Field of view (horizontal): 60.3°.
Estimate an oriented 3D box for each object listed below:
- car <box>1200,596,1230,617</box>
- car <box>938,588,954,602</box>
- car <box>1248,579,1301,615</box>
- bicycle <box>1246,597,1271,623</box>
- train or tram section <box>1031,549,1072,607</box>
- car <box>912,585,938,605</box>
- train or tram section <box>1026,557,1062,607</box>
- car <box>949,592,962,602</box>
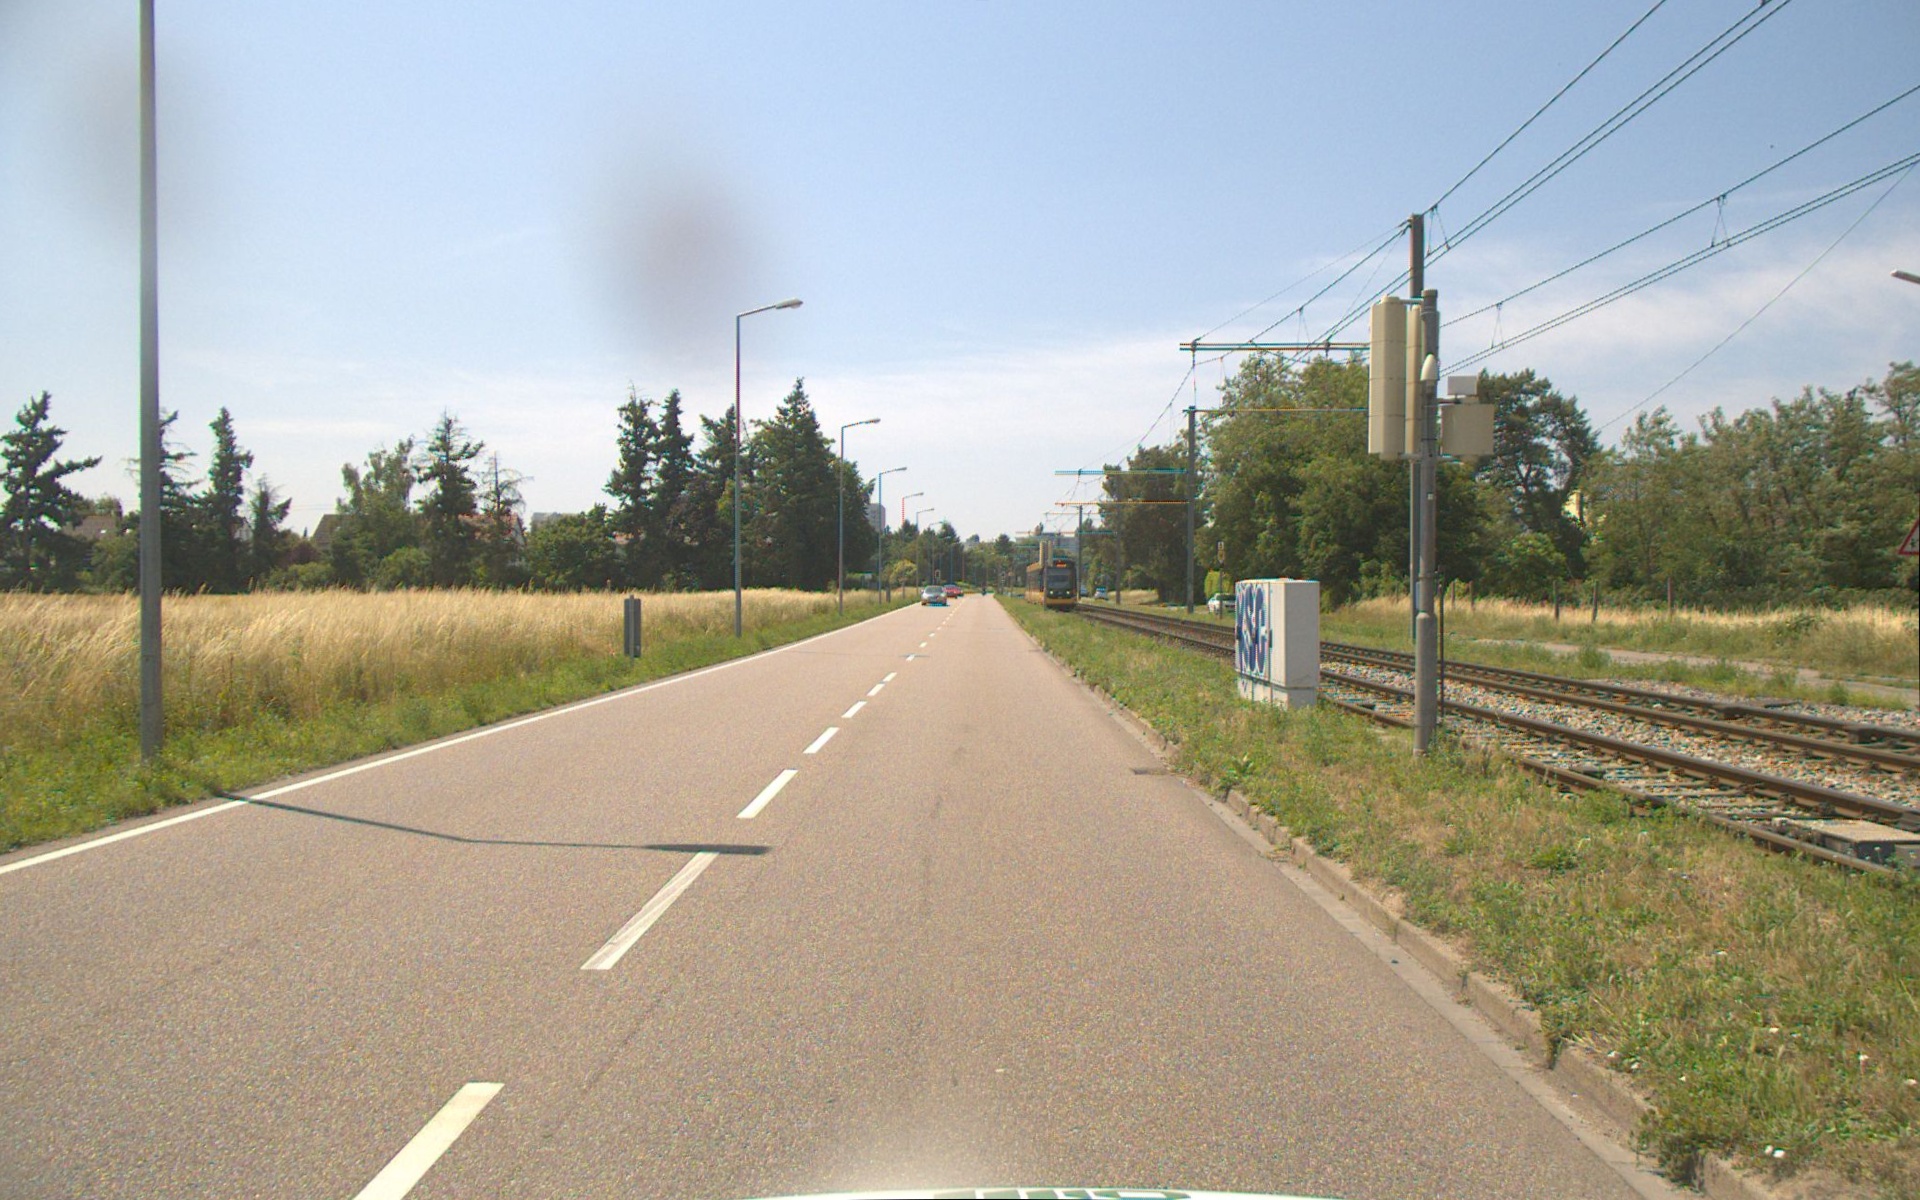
[{"bbox_3d":[16.401,0.406,106.452,1.399,1.331,3.465,0,-1,1],"label":"car"},{"bbox_3d":[-1.491,-0.514,177.991,1.611,1.424,3.844,0,-1,0],"label":"car"},{"bbox_3d":[16.561,-0.120,87.261,1.952,1.834,4.794,0,-1,1],"label":"car"},{"bbox_3d":[17.634,0.596,97.721,0.909,1.455,3.385,0,-1,1],"label":"bicycle"},{"bbox_3d":[6.410,-1.490,117.269,2.379,3.832,11.559,0,-1,0],"label":"train or tram section"},{"bbox_3d":[-2.644,-0.381,125.906,1.796,1.493,4.678,0,-1,0],"label":"car"},{"bbox_3d":[6.718,-1.387,133.143,2.646,3.832,6.729,0,-1,0],"label":"train or tram section"},{"bbox_3d":[-0.577,-0.362,226.100,1.770,1.308,4.286,0,-1,0],"label":"car"}]
